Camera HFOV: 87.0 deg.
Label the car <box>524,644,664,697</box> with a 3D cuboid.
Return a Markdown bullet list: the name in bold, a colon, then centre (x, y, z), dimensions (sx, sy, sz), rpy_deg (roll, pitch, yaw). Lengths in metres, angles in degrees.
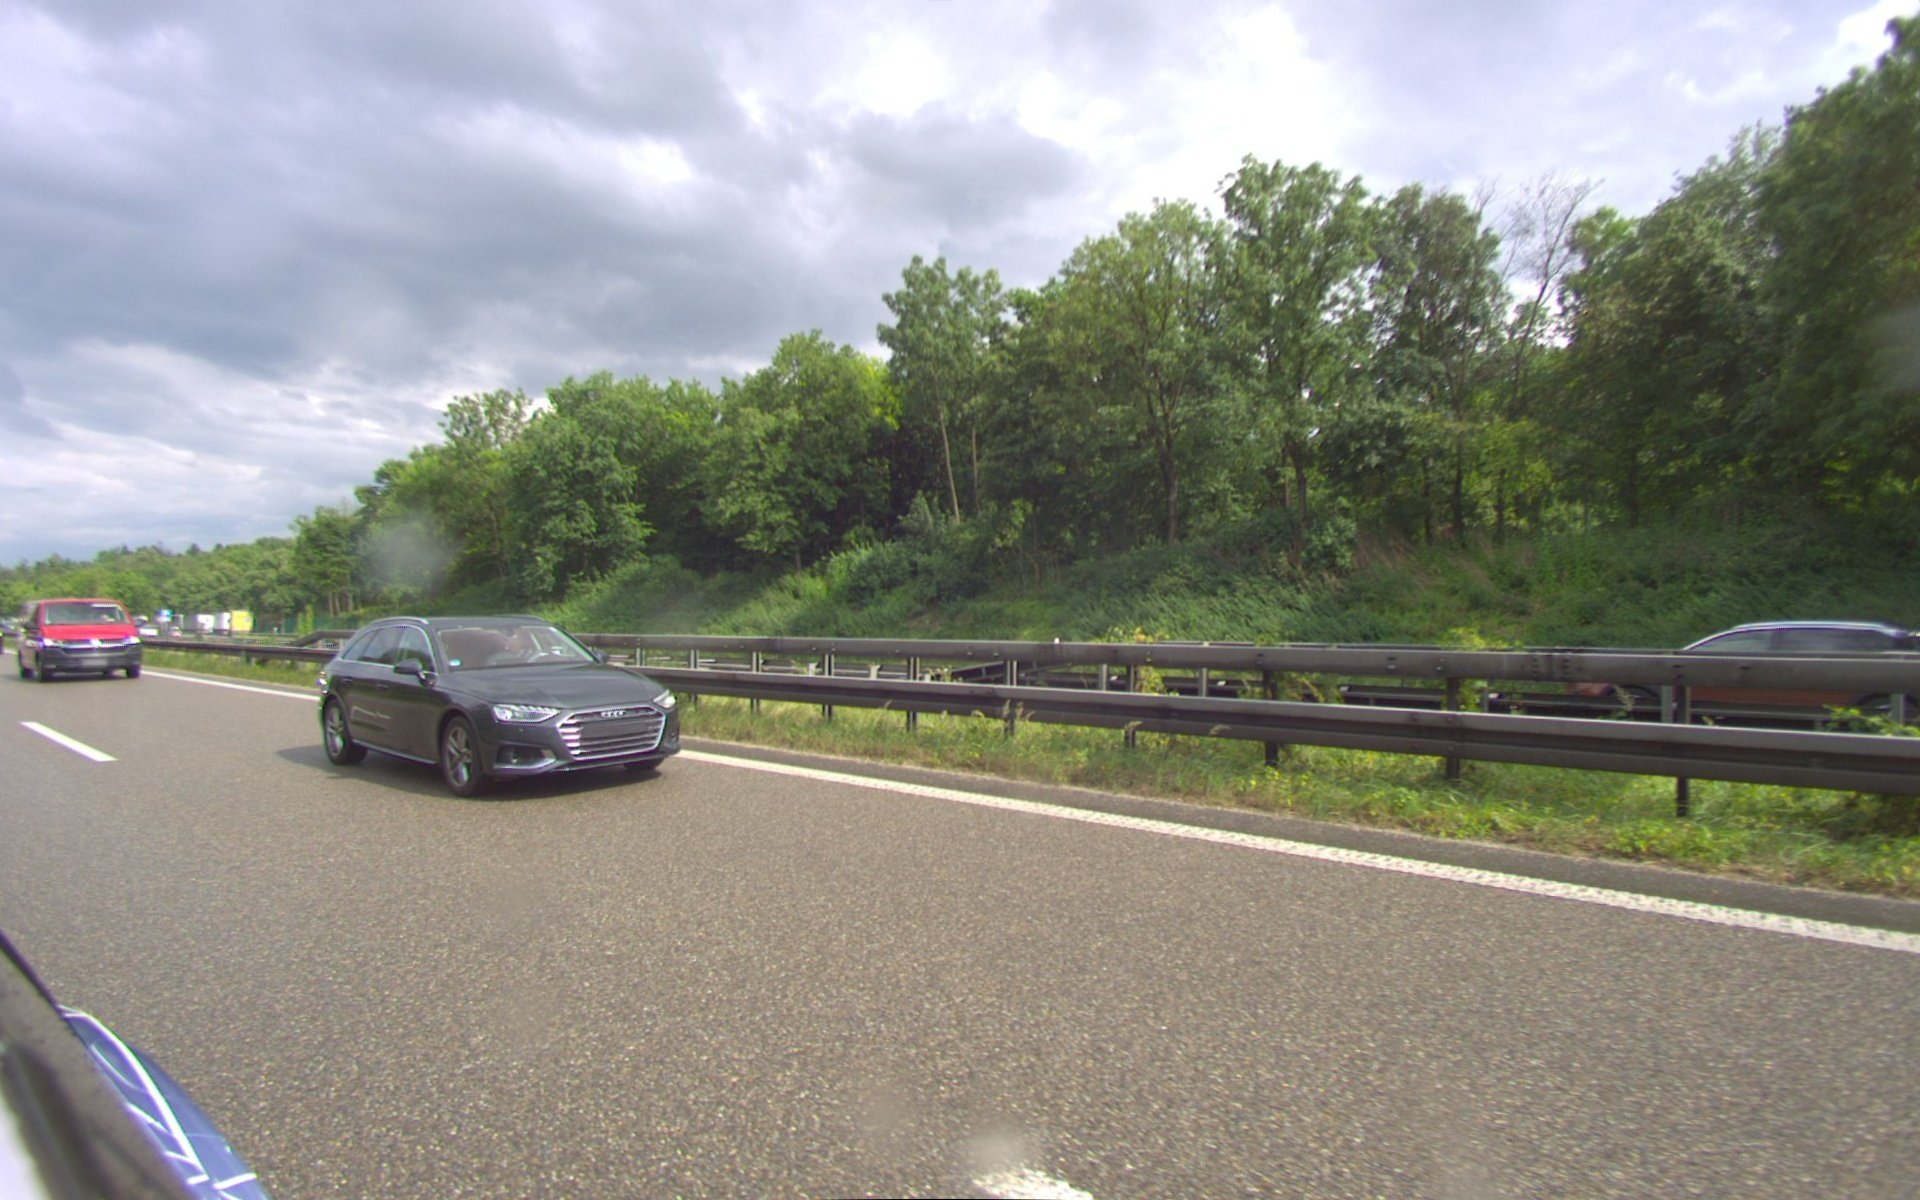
- **car**: centre (-9.718, 1.804, 26.714), dimensions (3.999, 1.136, 1.807), rpy_deg (-1, 0, 42)

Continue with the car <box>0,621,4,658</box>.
- **car**: centre (-41.342, 1.643, 42.060), dimensions (4.838, 1.508, 1.983), rpy_deg (-1, 0, 42)

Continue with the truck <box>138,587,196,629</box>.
- **truck**: centre (-94.226, 0.976, 120.089), dimensions (11.874, 4.756, 3.574), rpy_deg (-1, 0, 43)

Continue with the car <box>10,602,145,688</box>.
- **car**: centre (-21.548, 1.015, 24.637), dimensions (4.838, 1.880, 1.901), rpy_deg (-1, 0, 42)

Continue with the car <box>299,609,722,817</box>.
- **car**: centre (-4.369, 0.826, 9.379), dimensions (4.838, 1.429, 1.775), rpy_deg (-1, 0, 42)

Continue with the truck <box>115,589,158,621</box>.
- **truck**: centre (-127.389, 0.801, 156.437), dimensions (11.874, 4.756, 3.574), rpy_deg (-1, 0, 43)

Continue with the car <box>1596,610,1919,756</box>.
- **car**: centre (11.011, 0.996, 13.328), dimensions (4.234, 1.675, 1.835), rpy_deg (-1, 0, 41)

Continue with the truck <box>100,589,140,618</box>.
- **truck**: centre (-140.354, 0.650, 169.049), dimensions (11.874, 4.756, 3.574), rpy_deg (-1, 0, 43)
